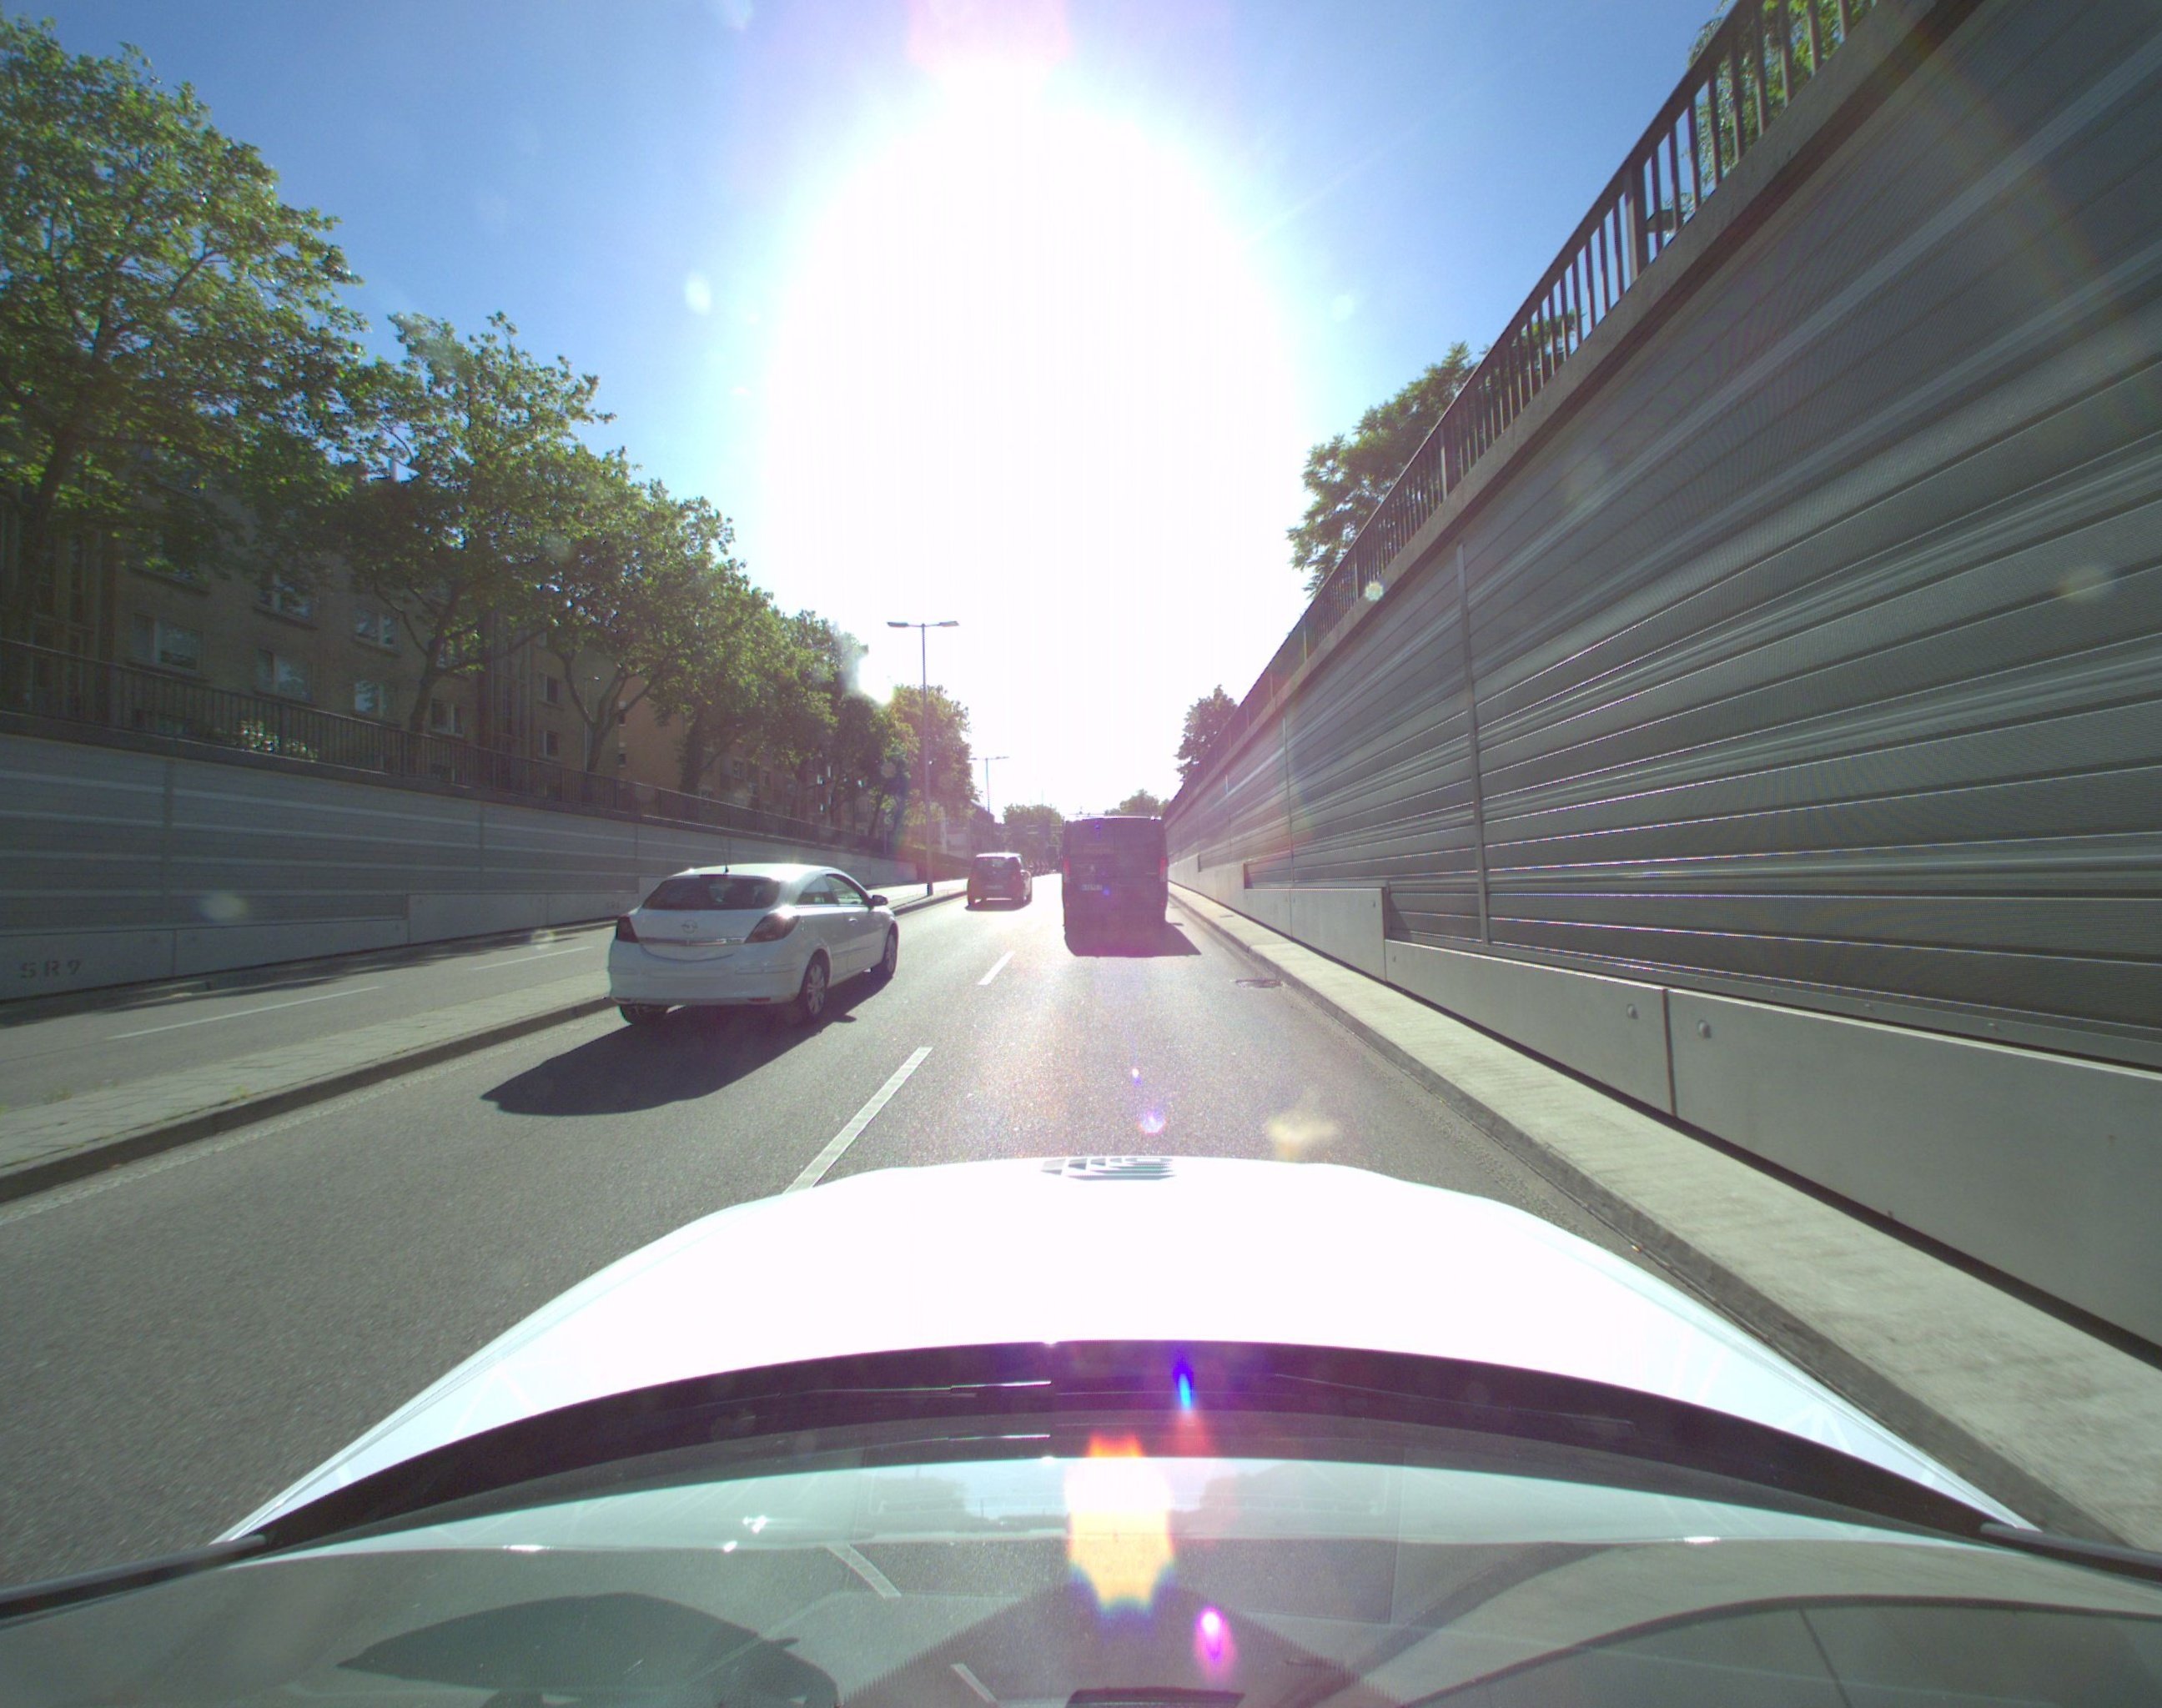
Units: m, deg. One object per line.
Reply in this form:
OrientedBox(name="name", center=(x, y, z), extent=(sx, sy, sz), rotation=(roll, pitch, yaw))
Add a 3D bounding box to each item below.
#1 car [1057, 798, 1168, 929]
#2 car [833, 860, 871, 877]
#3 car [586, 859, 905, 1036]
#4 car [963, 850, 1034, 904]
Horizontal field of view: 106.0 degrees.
OrientedBox(name="car", center=(0.647, 0.197, 17.164), extent=(2.022, 2.402, 3.974), rotation=(-1, -1, 2))
OrientedBox(name="car", center=(-19.850, 1.244, 70.632), extent=(1.986, 1.389, 4.173), rotation=(-1, -2, 2))
OrientedBox(name="car", center=(-3.100, 0.766, 8.435), extent=(1.613, 1.403, 3.853), rotation=(-1, -1, 1))
OrientedBox(name="car", center=(-2.378, 0.629, 24.201), extent=(1.683, 1.483, 3.319), rotation=(-1, 0, 1))
